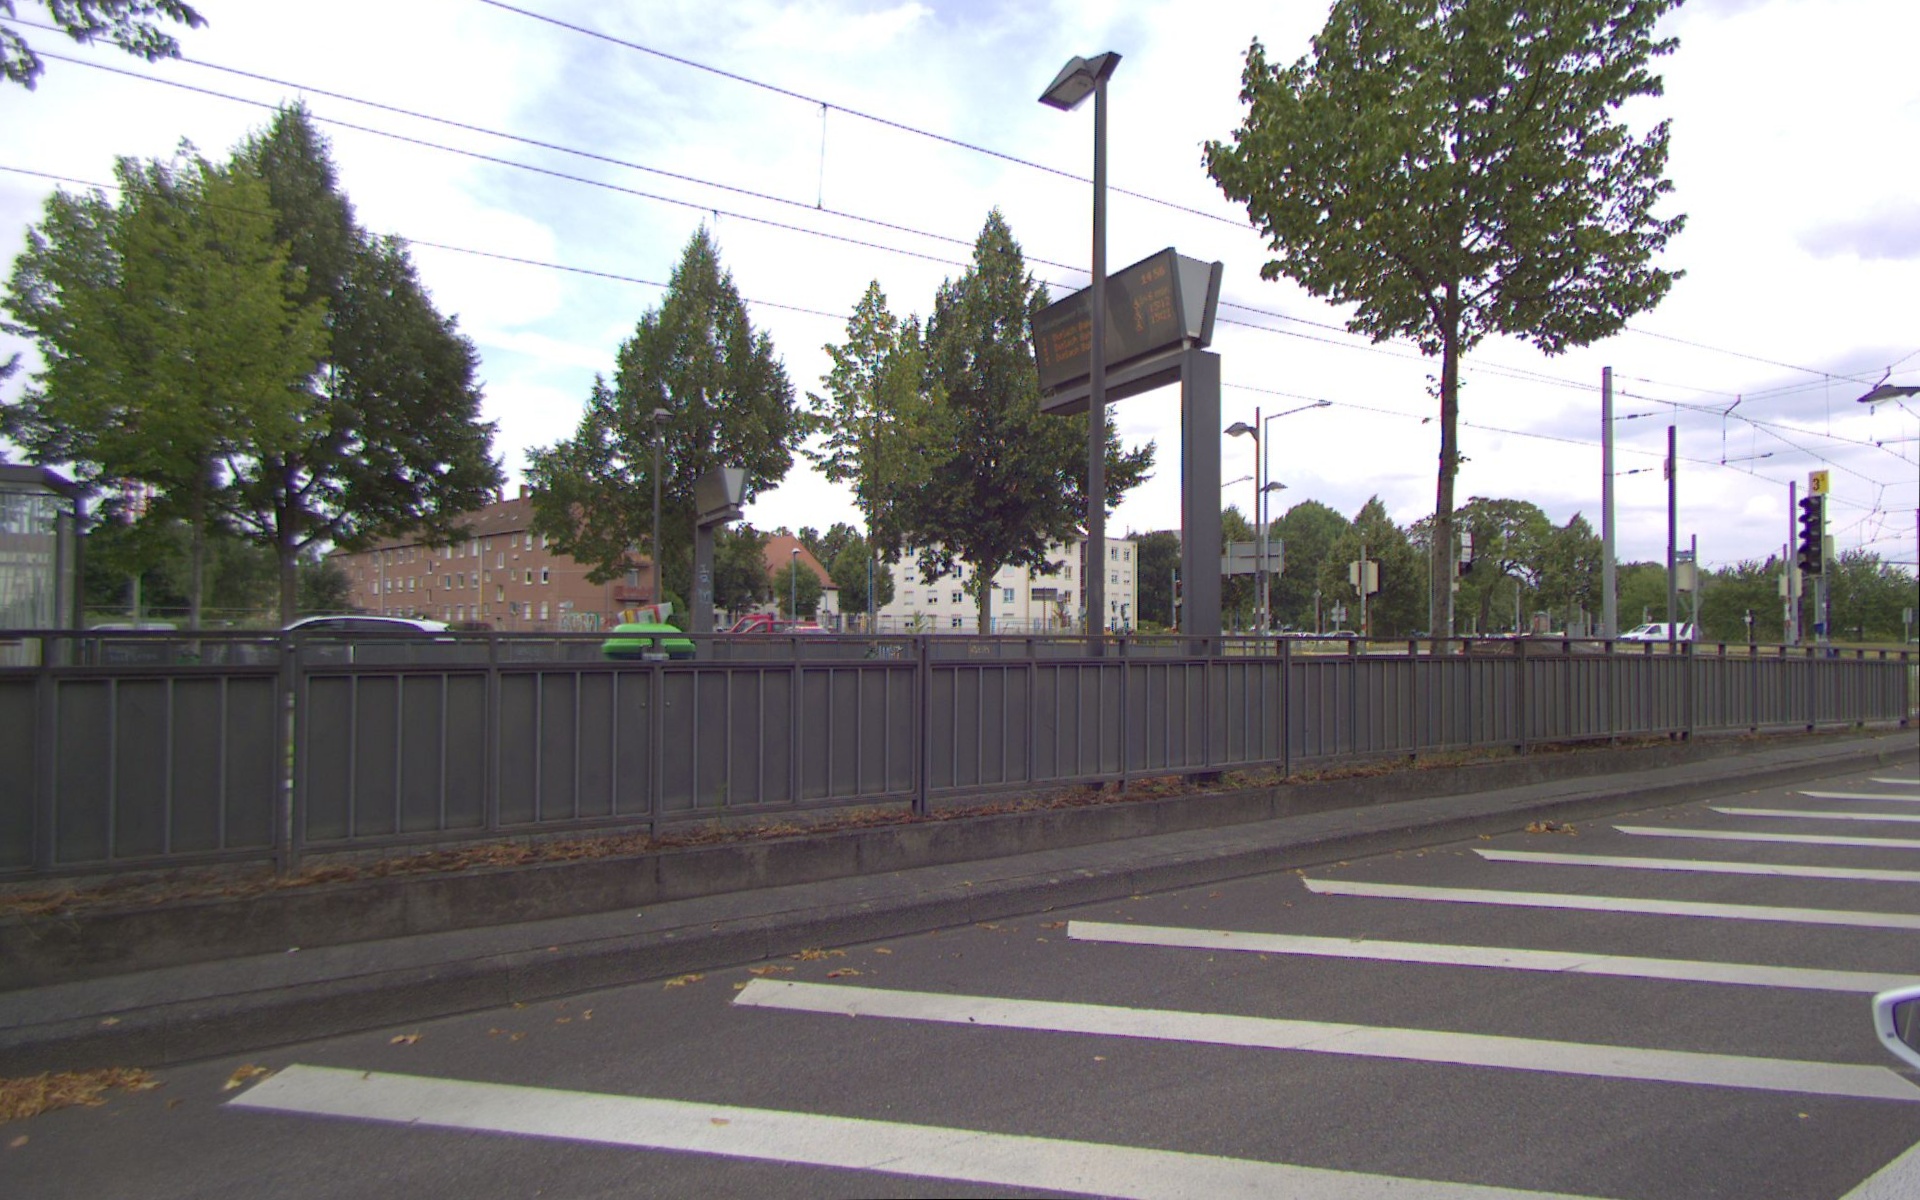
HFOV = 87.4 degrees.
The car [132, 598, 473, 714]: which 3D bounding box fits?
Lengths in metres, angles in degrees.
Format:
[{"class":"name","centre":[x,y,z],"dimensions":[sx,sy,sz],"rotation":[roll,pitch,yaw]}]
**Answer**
[{"class":"car","centre":[-10.318,0.846,16.186],"dimensions":[4.332,1.639,1.985],"rotation":[1,-1,-30]}]

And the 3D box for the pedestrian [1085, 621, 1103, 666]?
[{"class":"pedestrian","centre":[5.622,1.811,42.055],"dimensions":[0.636,1.874,0.491],"rotation":[0,-1,22]}]

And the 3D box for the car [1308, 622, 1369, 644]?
[{"class":"car","centre":[29.171,2.552,77.526],"dimensions":[3.920,1.663,2.001],"rotation":[0,-1,1]}]

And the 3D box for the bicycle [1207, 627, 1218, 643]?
[{"class":"bicycle","centre":[18.856,2.607,75.005],"dimensions":[0.793,1.144,2.709],"rotation":[0,-1,14]}]

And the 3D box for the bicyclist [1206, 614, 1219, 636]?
[{"class":"bicyclist","centre":[18.840,1.870,74.876],"dimensions":[0.873,1.583,0.750],"rotation":[0,-1,17]}]

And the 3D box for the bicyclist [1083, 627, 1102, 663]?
[{"class":"bicyclist","centre":[6.909,2.345,52.238],"dimensions":[0.815,1.859,0.783],"rotation":[0,-1,22]}]

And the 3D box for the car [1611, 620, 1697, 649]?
[{"class":"car","centre":[50.215,2.492,72.732],"dimensions":[4.901,2.040,2.000],"rotation":[0,-1,-1]}]
